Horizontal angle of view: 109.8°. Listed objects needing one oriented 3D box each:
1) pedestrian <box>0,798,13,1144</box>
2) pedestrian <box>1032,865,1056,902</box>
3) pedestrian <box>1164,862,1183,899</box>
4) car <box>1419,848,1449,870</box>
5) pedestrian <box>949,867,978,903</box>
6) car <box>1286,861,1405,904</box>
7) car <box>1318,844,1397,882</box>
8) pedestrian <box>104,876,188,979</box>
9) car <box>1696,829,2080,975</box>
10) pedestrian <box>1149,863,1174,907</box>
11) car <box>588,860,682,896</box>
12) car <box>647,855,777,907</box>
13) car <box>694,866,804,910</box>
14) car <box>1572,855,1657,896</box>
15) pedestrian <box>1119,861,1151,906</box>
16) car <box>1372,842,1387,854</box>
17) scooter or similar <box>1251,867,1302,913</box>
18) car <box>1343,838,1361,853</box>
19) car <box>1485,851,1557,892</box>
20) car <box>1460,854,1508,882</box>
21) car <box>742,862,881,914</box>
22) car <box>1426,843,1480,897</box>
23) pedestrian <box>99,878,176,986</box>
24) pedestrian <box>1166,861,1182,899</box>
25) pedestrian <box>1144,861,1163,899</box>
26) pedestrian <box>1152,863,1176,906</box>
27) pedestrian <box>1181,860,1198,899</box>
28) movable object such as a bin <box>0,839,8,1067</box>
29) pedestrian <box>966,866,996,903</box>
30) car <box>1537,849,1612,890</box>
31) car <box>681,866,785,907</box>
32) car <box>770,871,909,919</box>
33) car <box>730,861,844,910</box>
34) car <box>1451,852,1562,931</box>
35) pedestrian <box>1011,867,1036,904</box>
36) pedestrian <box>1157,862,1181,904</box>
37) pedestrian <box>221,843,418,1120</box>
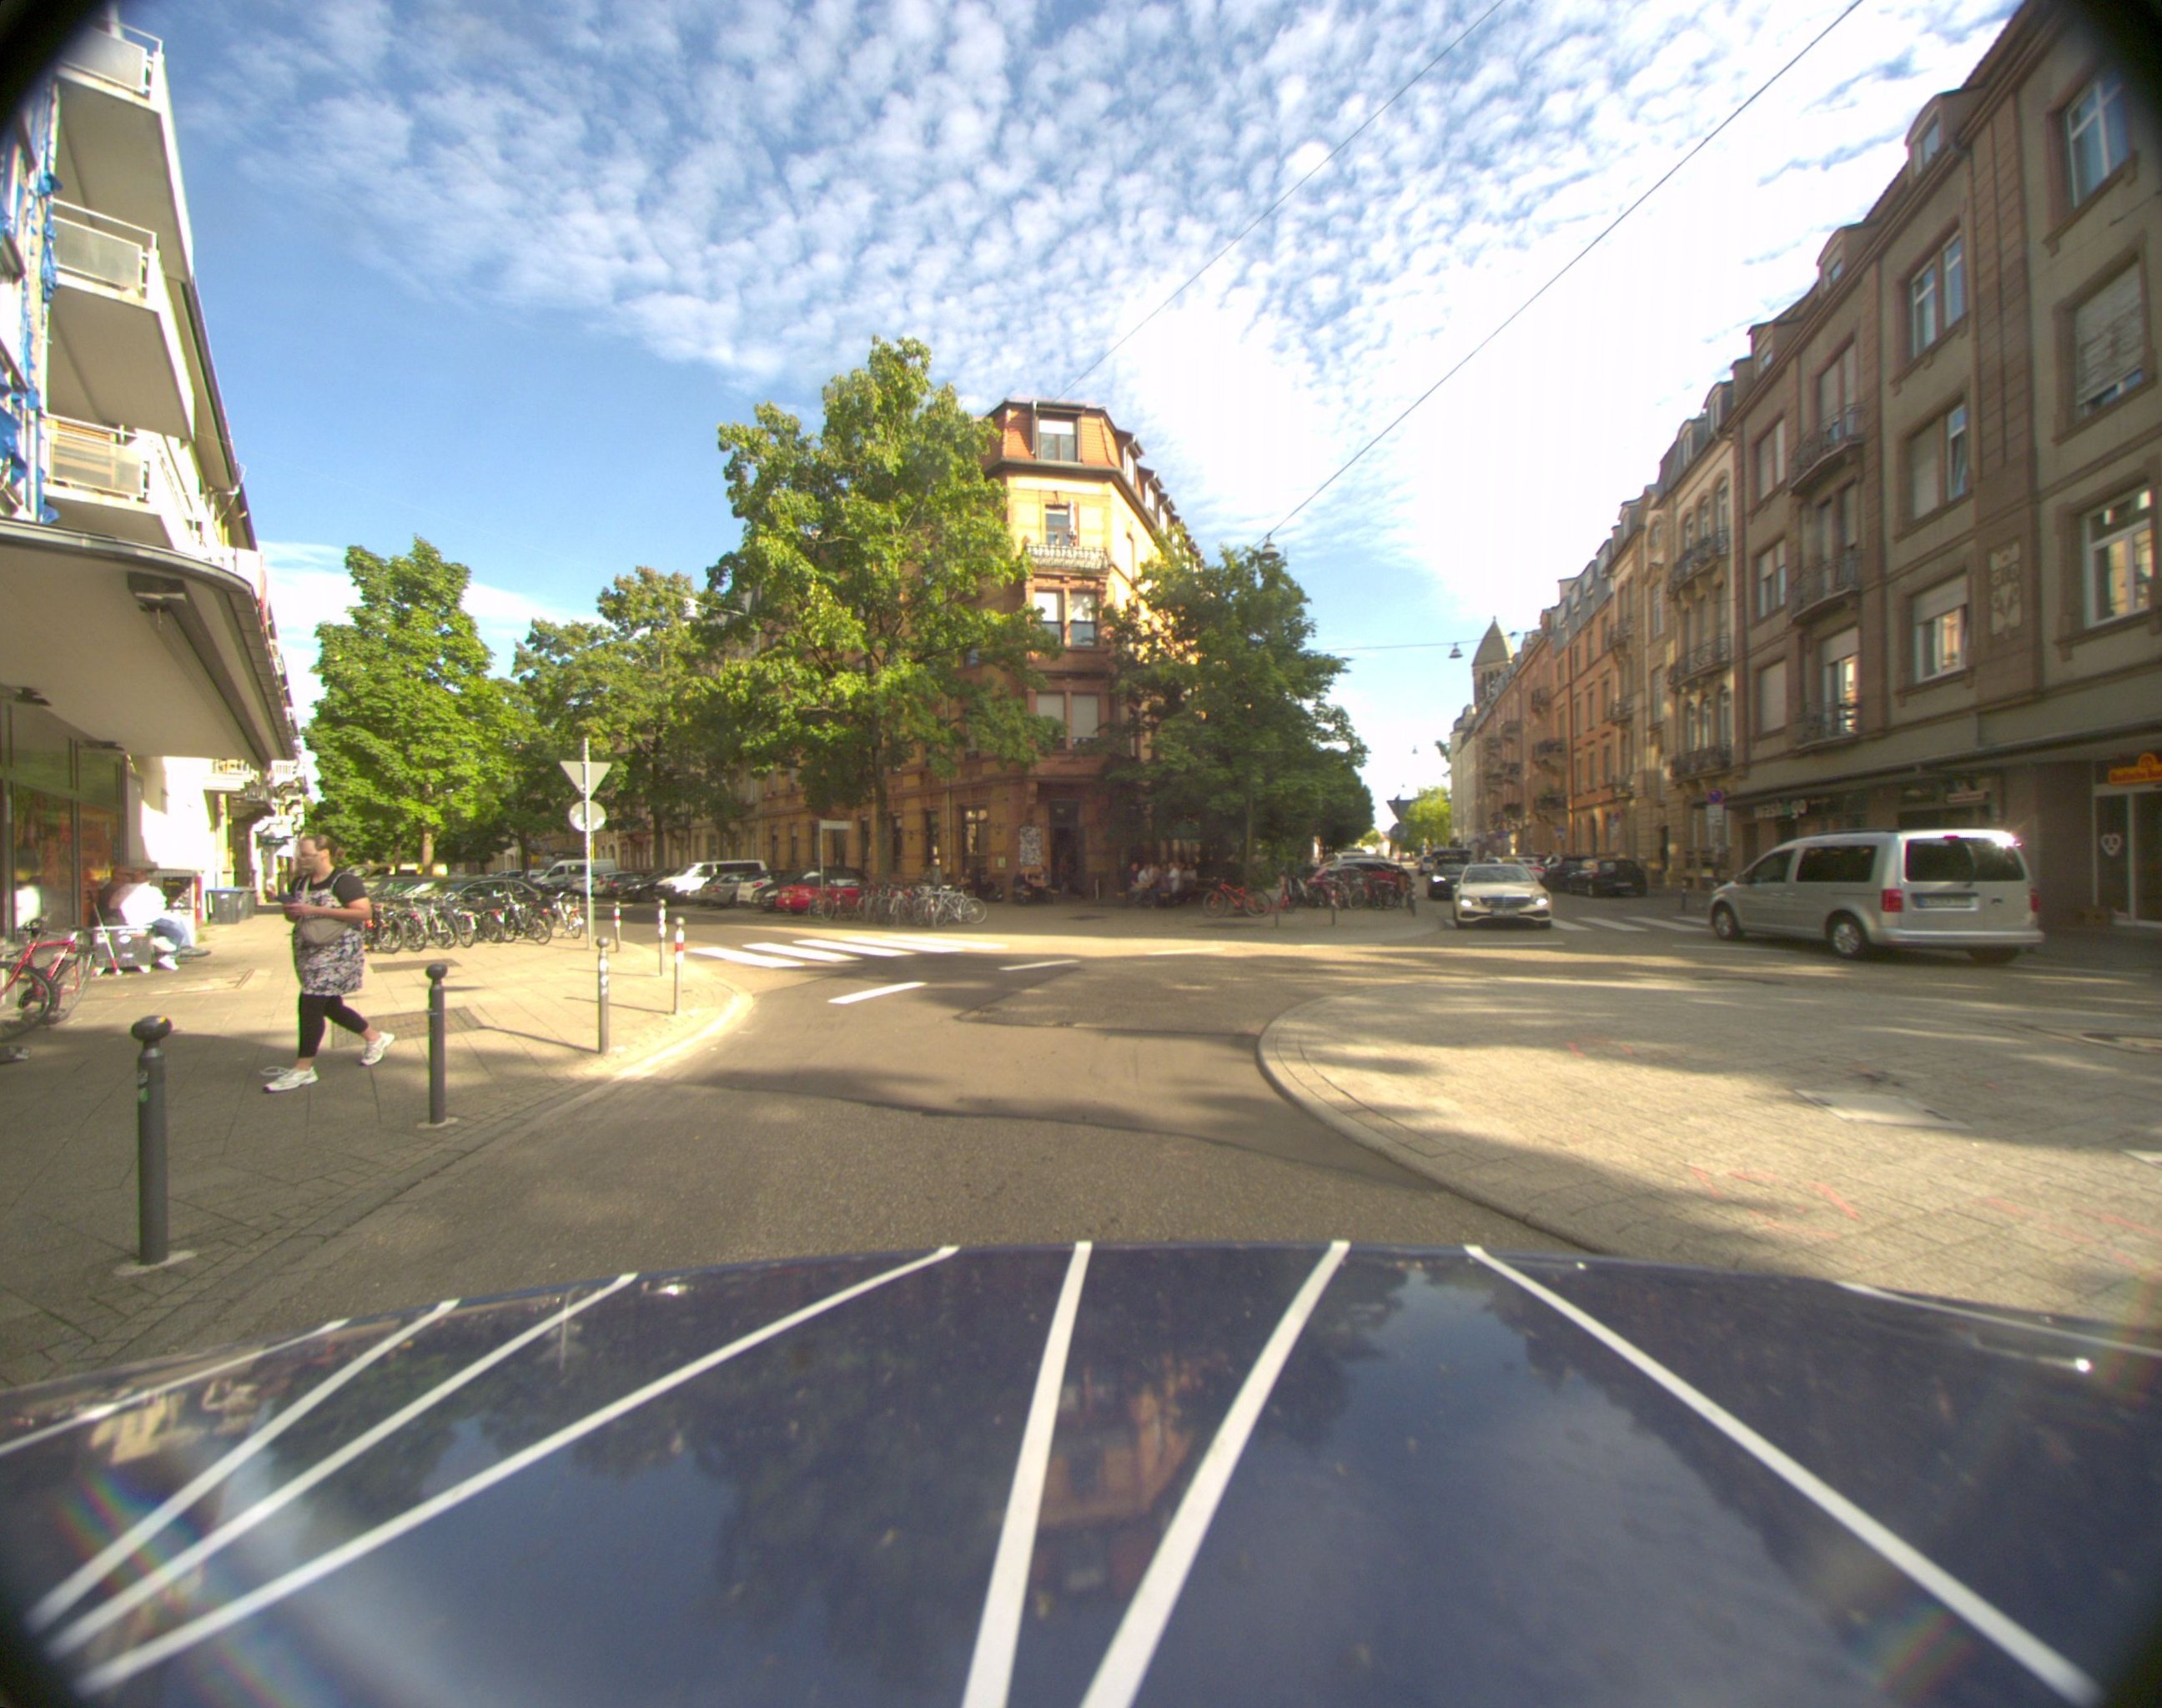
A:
[{"bbox_3d":[-6.607,0.664,3.859,0.863,2.001,1.034,1,0,-7],"label":"pedestrian"},{"bbox_3d":[-1.312,1.049,26.850,0.642,1.252,0.510,-3,3,-36],"label":"pedestrian"},{"bbox_3d":[3.170,0.900,26.143,0.548,1.225,0.621,-1,1,-3],"label":"pedestrian"},{"bbox_3d":[31.632,0.449,68.155,1.941,1.868,4.844,-2,-1,20],"label":"car"},{"bbox_3d":[-4.333,1.129,28.020,0.627,1.278,0.770,-1,2,44],"label":"pedestrian"},{"bbox_3d":[9.115,0.982,26.333,3.586,1.372,1.513,1,0,-4],"label":"car"},{"bbox_3d":[19.282,0.615,52.977,4.740,2.408,1.998,-2,-1,-11],"label":"car"},{"bbox_3d":[-14.390,1.098,11.718,0.666,1.497,0.755,-1,0,43],"label":"pedestrian"},{"bbox_3d":[11.706,0.596,11.565,1.832,1.780,4.335,0,0,11],"label":"car"},{"bbox_3d":[2.478,0.949,23.320,0.728,1.307,0.521,-1,0,9],"label":"pedestrian"},{"bbox_3d":[-27.026,1.405,46.116,1.931,1.823,4.467,-1,3,43],"label":"car"},{"bbox_3d":[-16.948,1.167,35.101,2.041,1.978,4.920,-1,3,43],"label":"car"},{"bbox_3d":[-13.537,1.375,31.074,3.714,1.449,1.665,-4,1,-42],"label":"car"},{"bbox_3d":[19.810,0.770,28.382,1.721,1.360,3.835,-2,-1,22],"label":"car"},{"bbox_3d":[1.707,0.926,24.008,0.671,1.371,0.715,-2,1,-34],"label":"pedestrian"},{"bbox_3d":[50.043,-0.932,127.347,1.995,1.877,4.007,-2,-1,23],"label":"car"},{"bbox_3d":[5.435,0.991,21.164,0.557,1.203,1.289,2,-1,-40],"label":"scooter or similar"},{"bbox_3d":[33.979,-1.060,95.305,1.847,1.724,4.005,-2,-1,16],"label":"car"},{"bbox_3d":[18.841,0.742,32.738,1.995,1.624,4.852,-1,-1,22],"label":"car"},{"bbox_3d":[22.633,0.767,42.827,1.767,1.373,4.458,-3,-1,21],"label":"car"},{"bbox_3d":[-9.822,1.185,27.813,4.319,1.561,2.002,-3,1,-38],"label":"car"},{"bbox_3d":[14.919,0.607,30.640,1.789,2.051,4.007,-1,0,24],"label":"car"},{"bbox_3d":[-13.855,1.110,11.180,0.751,1.497,0.669,-1,0,40],"label":"pedestrian"},{"bbox_3d":[3.317,0.911,27.081,0.466,1.319,0.621,-1,1,-3],"label":"pedestrian"},{"bbox_3d":[2.501,0.882,26.107,0.548,1.293,0.621,-1,1,-3],"label":"pedestrian"},{"bbox_3d":[2.604,0.953,23.823,0.728,1.307,0.521,-1,0,9],"label":"pedestrian"},{"bbox_3d":[3.798,0.884,26.556,0.466,1.319,0.621,-1,1,-3],"label":"pedestrian"},{"bbox_3d":[-8.006,0.740,5.098,1.545,1.744,0.692,-1,-2,44],"label":"movable object such as a bin"},{"bbox_3d":[-3.625,1.093,27.498,0.627,1.278,0.770,-1,2,44],"label":"pedestrian"},{"bbox_3d":[21.396,0.626,33.121,1.859,1.575,4.405,-2,0,22],"label":"car"},{"bbox_3d":[-15.224,1.388,33.346,3.714,1.449,1.665,-4,3,-42],"label":"car"},{"bbox_3d":[-8.041,1.338,25.567,1.564,1.263,4.120,-3,0,44],"label":"car"},{"bbox_3d":[-11.505,1.196,29.858,3.715,1.710,1.856,-1,-1,-42],"label":"car"},{"bbox_3d":[9.881,0.810,17.814,1.940,1.587,4.845,-3,-1,28],"label":"car"},{"bbox_3d":[-1.995,1.088,26.446,0.642,1.218,0.510,-3,3,-36],"label":"pedestrian"},{"bbox_3d":[2.842,0.927,24.438,0.728,1.307,0.608,-1,0,9],"label":"pedestrian"},{"bbox_3d":[-5.284,0.809,5.300,0.612,1.743,0.844,-1,0,33],"label":"pedestrian"}]
